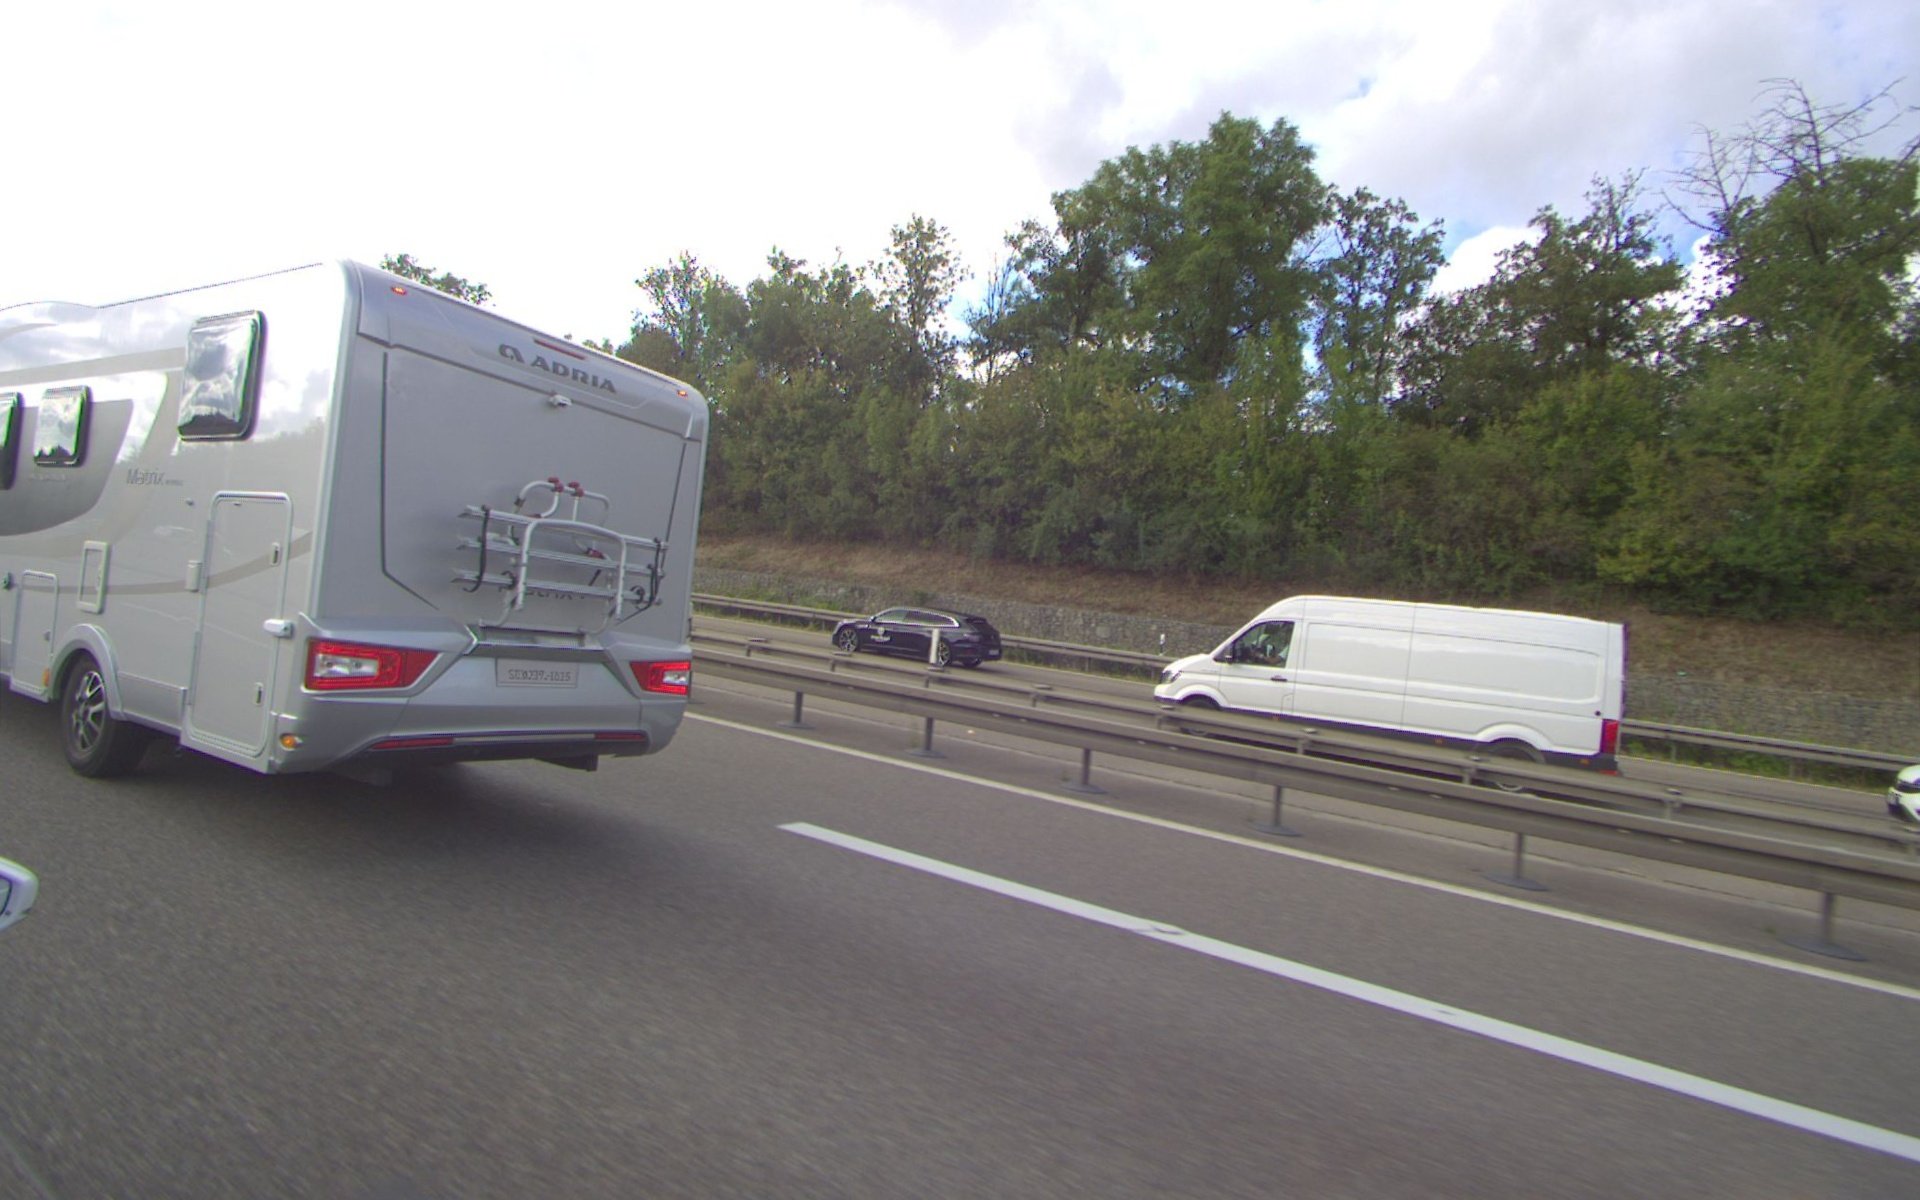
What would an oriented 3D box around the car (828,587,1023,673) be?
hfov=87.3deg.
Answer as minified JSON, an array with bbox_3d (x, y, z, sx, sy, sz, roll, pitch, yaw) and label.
[{"bbox_3d":[-0.941,0.750,26.134,4.684,1.623,1.844,7,2,31],"label":"car"}]

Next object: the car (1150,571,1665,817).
[{"bbox_3d":[6.561,1.219,15.464,6.631,2.587,2.072,7,1,32],"label":"car"}]

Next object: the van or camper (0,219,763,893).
[{"bbox_3d":[-5.195,-0.437,7.124,7.534,2.754,2.473,7,-1,32],"label":"van or camper"}]

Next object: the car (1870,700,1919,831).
[{"bbox_3d":[15.440,2.552,13.251,4.685,1.773,1.846,7,-1,32],"label":"car"}]
